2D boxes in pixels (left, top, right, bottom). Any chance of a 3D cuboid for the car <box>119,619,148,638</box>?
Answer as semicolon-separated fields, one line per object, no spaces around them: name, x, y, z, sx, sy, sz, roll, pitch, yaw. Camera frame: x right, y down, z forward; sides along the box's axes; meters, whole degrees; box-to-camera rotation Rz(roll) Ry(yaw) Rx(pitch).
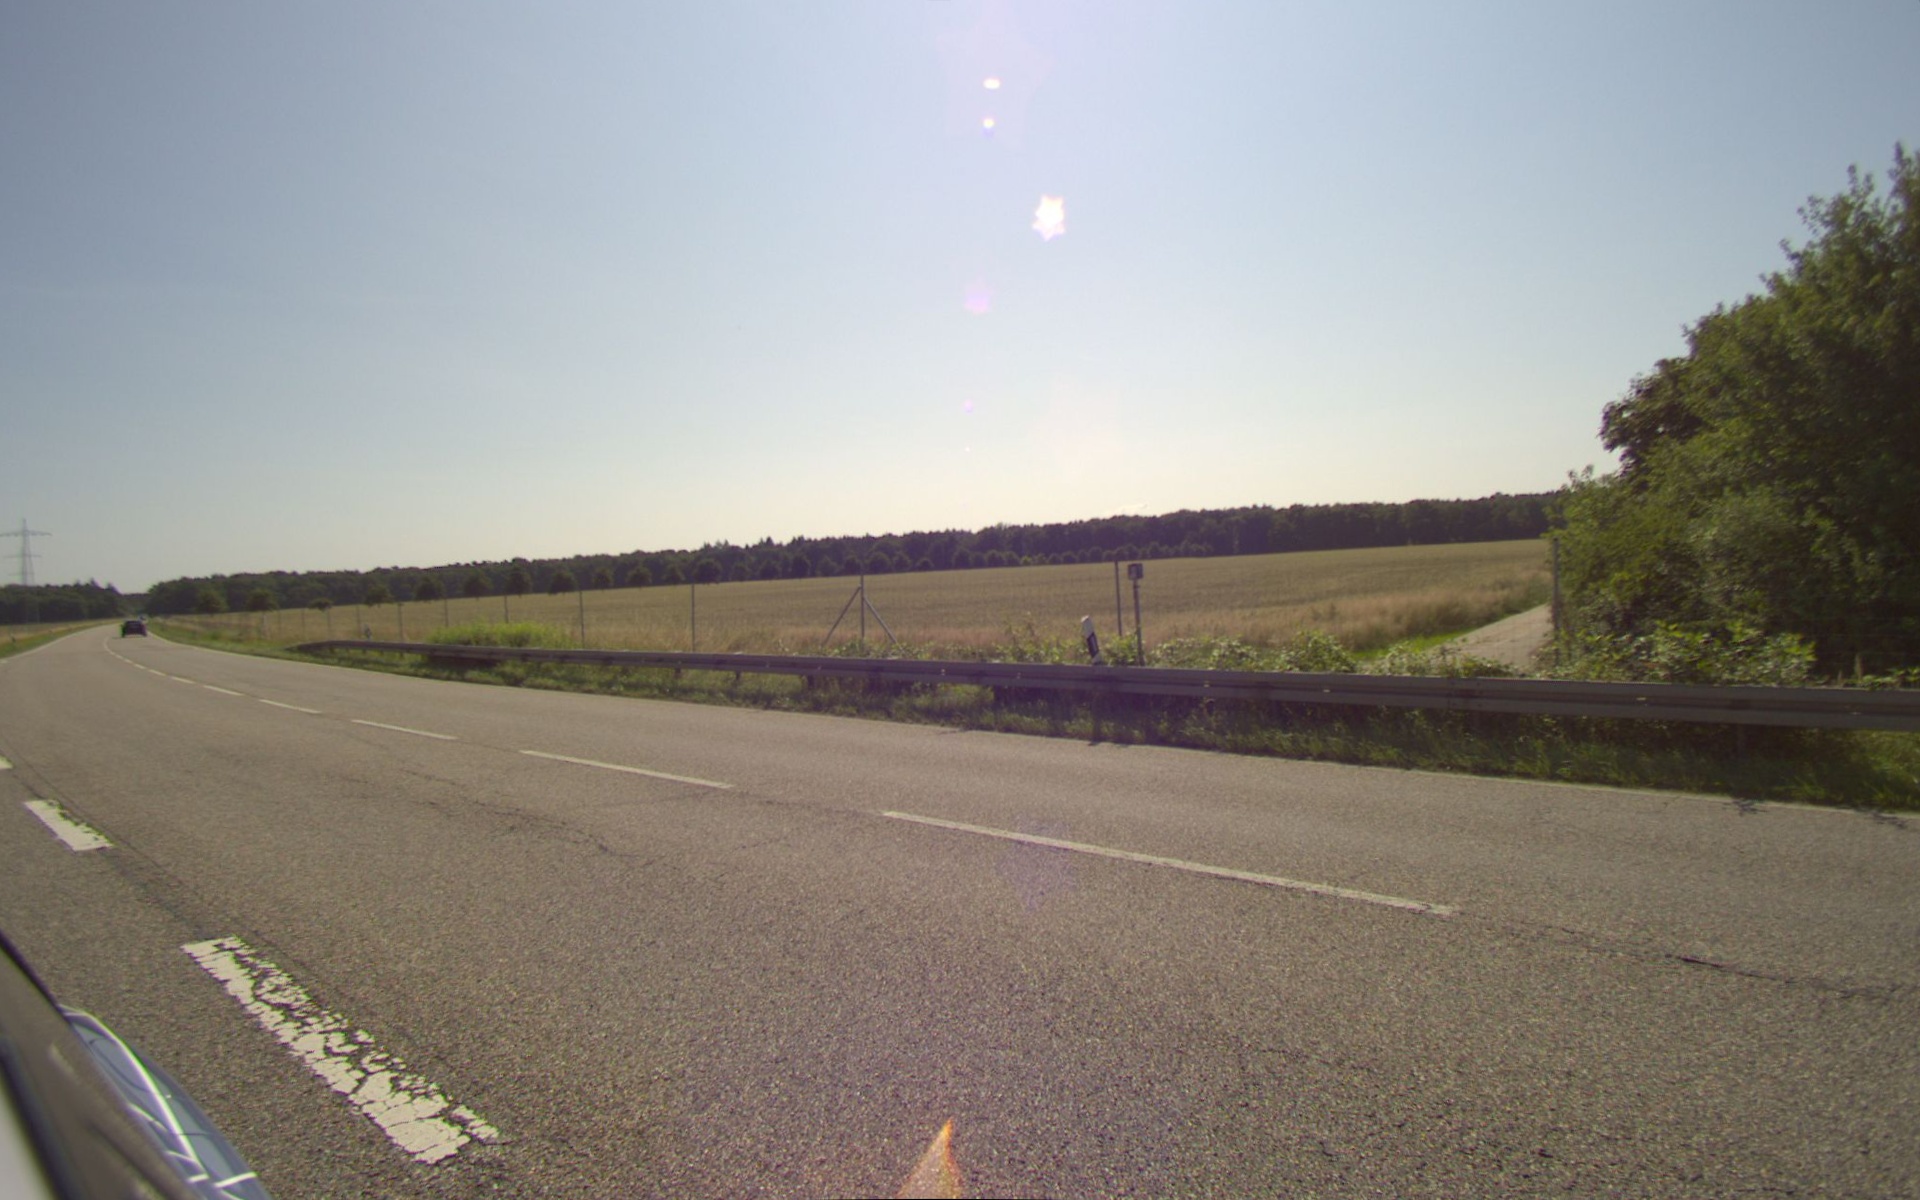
car;-73.166;2.502;89.548;1.806;1.519;4.167;-2;0;-42
